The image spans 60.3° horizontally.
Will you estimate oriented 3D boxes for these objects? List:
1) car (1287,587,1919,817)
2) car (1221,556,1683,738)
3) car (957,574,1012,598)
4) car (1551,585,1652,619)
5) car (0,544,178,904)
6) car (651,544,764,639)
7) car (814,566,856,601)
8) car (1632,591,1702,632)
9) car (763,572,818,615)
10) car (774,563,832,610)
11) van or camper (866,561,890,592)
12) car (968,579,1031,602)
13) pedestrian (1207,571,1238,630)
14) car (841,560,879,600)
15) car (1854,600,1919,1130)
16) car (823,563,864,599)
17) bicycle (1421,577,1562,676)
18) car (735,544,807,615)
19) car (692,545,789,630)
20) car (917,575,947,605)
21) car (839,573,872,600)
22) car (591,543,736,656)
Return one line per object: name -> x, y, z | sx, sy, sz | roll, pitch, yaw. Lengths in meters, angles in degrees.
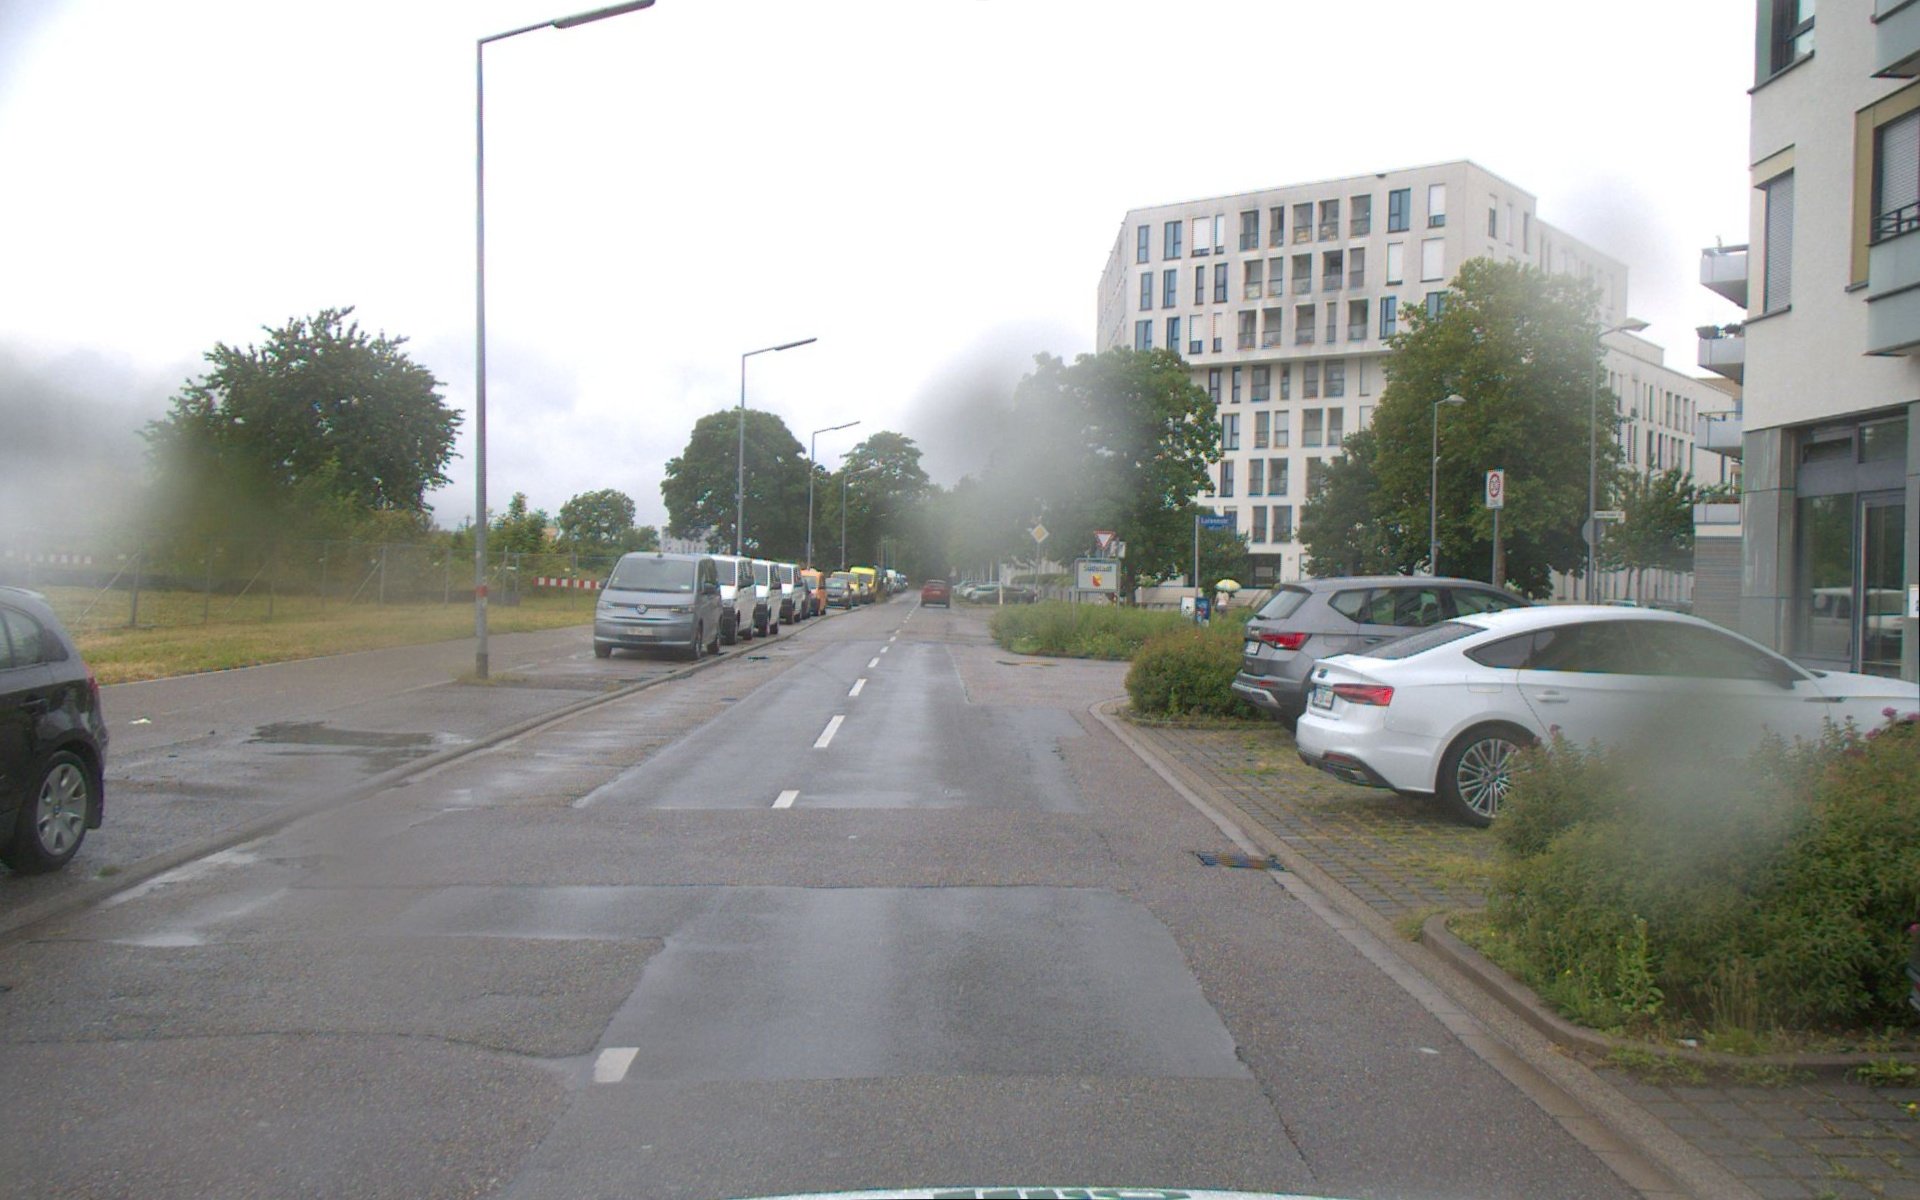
car -> 4.663, 0.651, 11.661 | 4.320, 1.429, 1.910 | -1, 0, -2
car -> 4.805, 0.430, 16.561 | 4.007, 1.652, 1.965 | -1, 0, -3
car -> 2.074, -1.170, 140.093 | 4.450, 1.714, 1.884 | -3, 1, -4
car -> 34.405, 0.111, 88.818 | 4.748, 1.533, 1.616 | 5, 2, 40
car -> -5.166, 0.518, 6.886 | 1.810, 1.588, 4.152 | 4, 1, -1
car -> -5.895, -0.229, 39.189 | 1.856, 2.048, 5.257 | 2, 1, -1
car -> -6.394, -0.855, 84.787 | 1.767, 1.588, 4.032 | 4, 1, -1
car -> 29.022, 0.462, 67.831 | 1.701, 1.575, 4.103 | 2, 1, 37
car -> -6.420, -0.271, 63.005 | 1.649, 1.528, 4.891 | 2, 1, -1
car -> -6.405, -0.553, 67.917 | 1.900, 1.798, 4.331 | 2, 1, 1
van or camper -> -7.998, -2.263, 161.237 | 2.053, 2.762, 7.570 | 4, 0, -3
car -> 2.778, -0.678, 117.103 | 4.396, 1.507, 1.692 | -1, 0, -2
pedestrian -> 9.192, 0.012, 57.924 | 0.945, 2.048, 0.622 | 1, 1, -1
car -> -7.318, -1.440, 121.515 | 2.147, 2.740, 6.082 | 4, 0, 0
car -> 4.707, 0.768, 4.181 | 3.907, 1.505, 1.878 | 0, 1, -2
car -> -6.833, -1.107, 97.569 | 1.976, 1.990, 6.063 | 3, 0, -1
bicycle -> 8.635, 0.419, 26.902 | 2.142, 1.549, 0.631 | 1, 0, 20
car -> -6.416, -0.717, 56.724 | 1.903, 2.275, 5.556 | 2, 1, -1
car -> -5.898, -0.357, 45.070 | 1.920, 2.094, 5.274 | 3, 1, -1
car -> -1.782, -0.617, 103.238 | 1.721, 1.735, 3.998 | 3, 0, -2
car -> -6.902, -0.910, 109.869 | 1.954, 1.621, 5.015 | 4, 0, -2
car -> -5.607, -0.044, 31.921 | 1.916, 1.935, 4.994 | 2, 1, -1
